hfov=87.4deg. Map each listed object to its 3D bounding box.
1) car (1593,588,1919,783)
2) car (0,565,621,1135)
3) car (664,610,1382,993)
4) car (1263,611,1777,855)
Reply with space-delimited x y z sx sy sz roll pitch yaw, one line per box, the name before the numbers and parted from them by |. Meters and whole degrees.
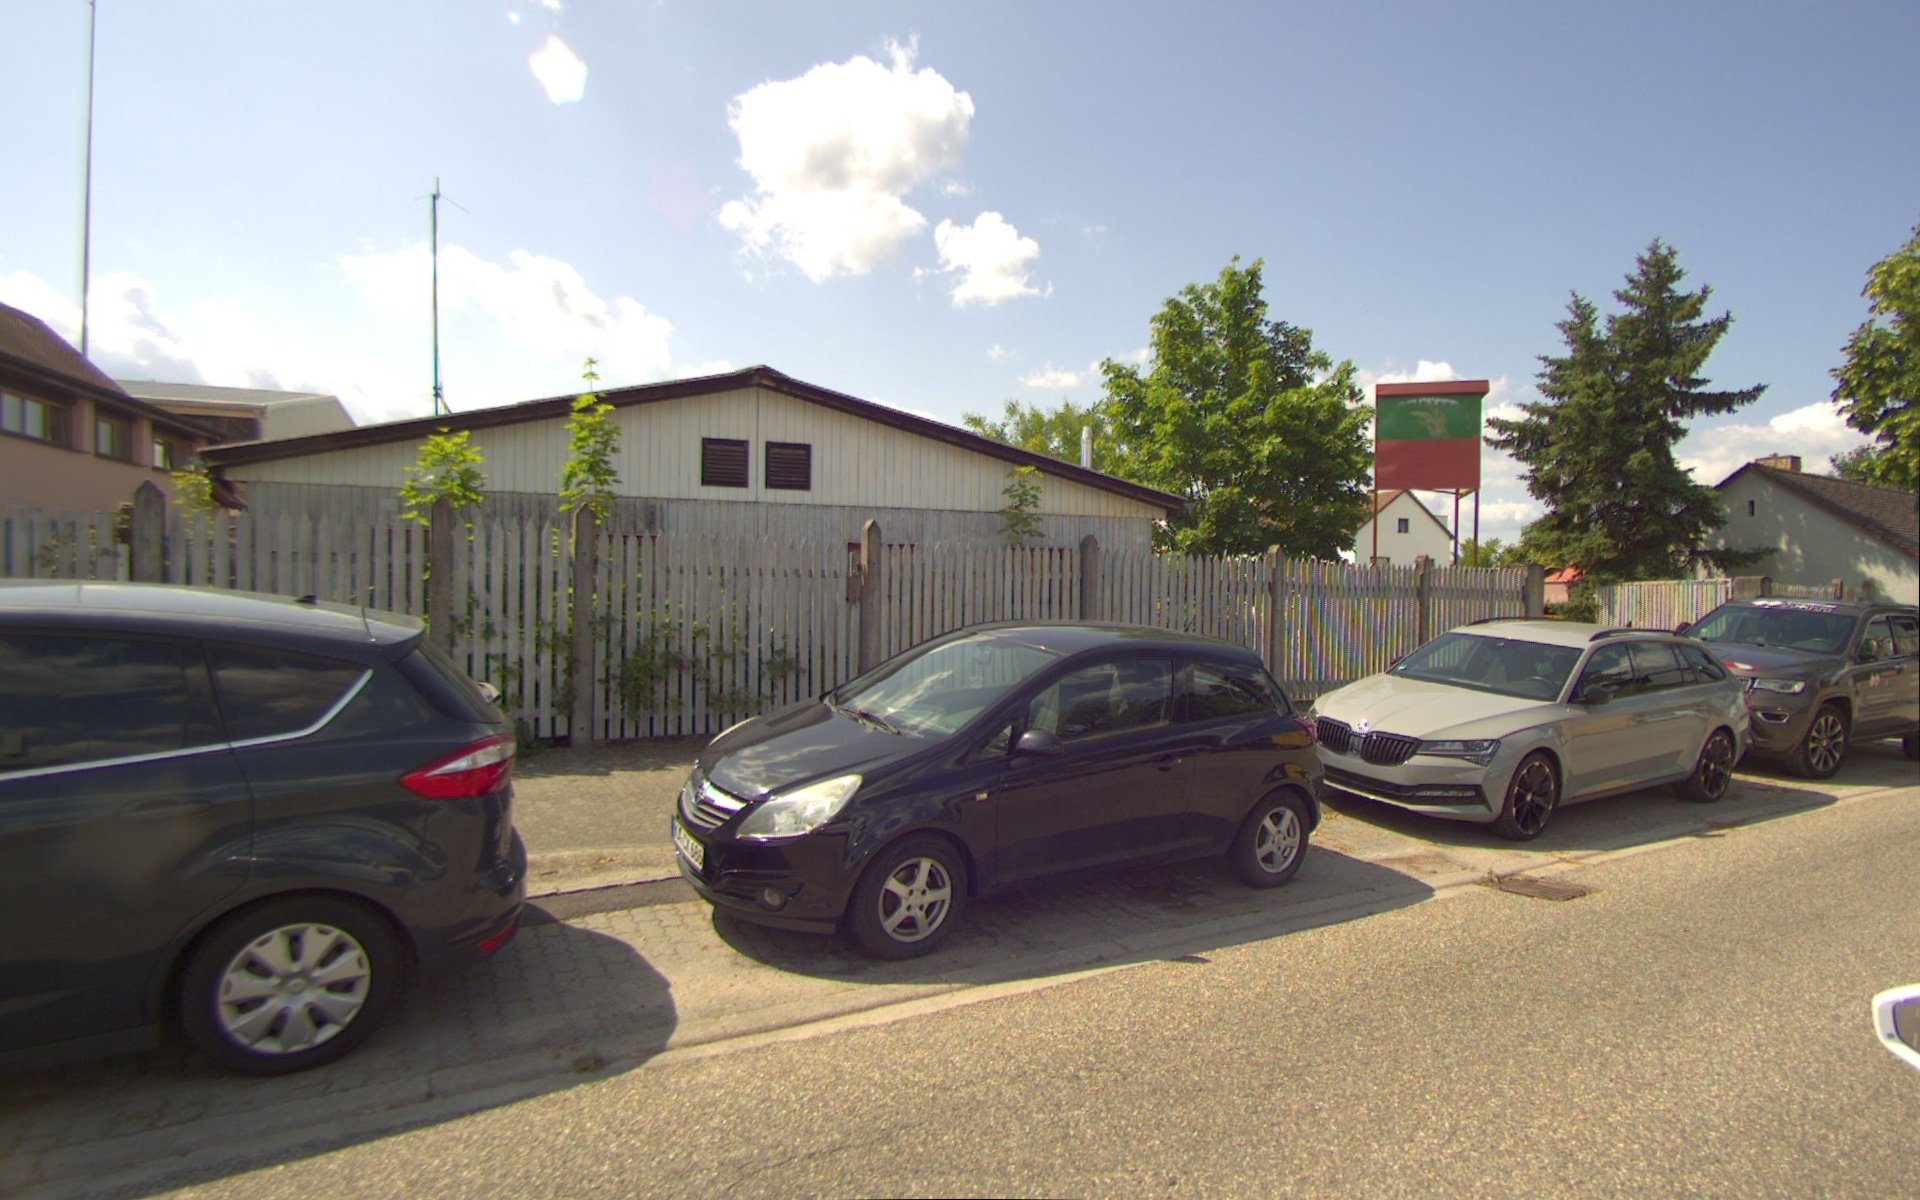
car | 9.612 0.840 11.526 4.726 1.846 1.911 1 0 -29
car | -3.619 0.720 3.449 4.365 1.626 1.714 1 3 -32
car | 0.483 0.878 5.919 3.982 1.468 1.618 1 4 -32
car | 4.935 0.913 8.655 4.688 1.538 1.724 0 3 -31
